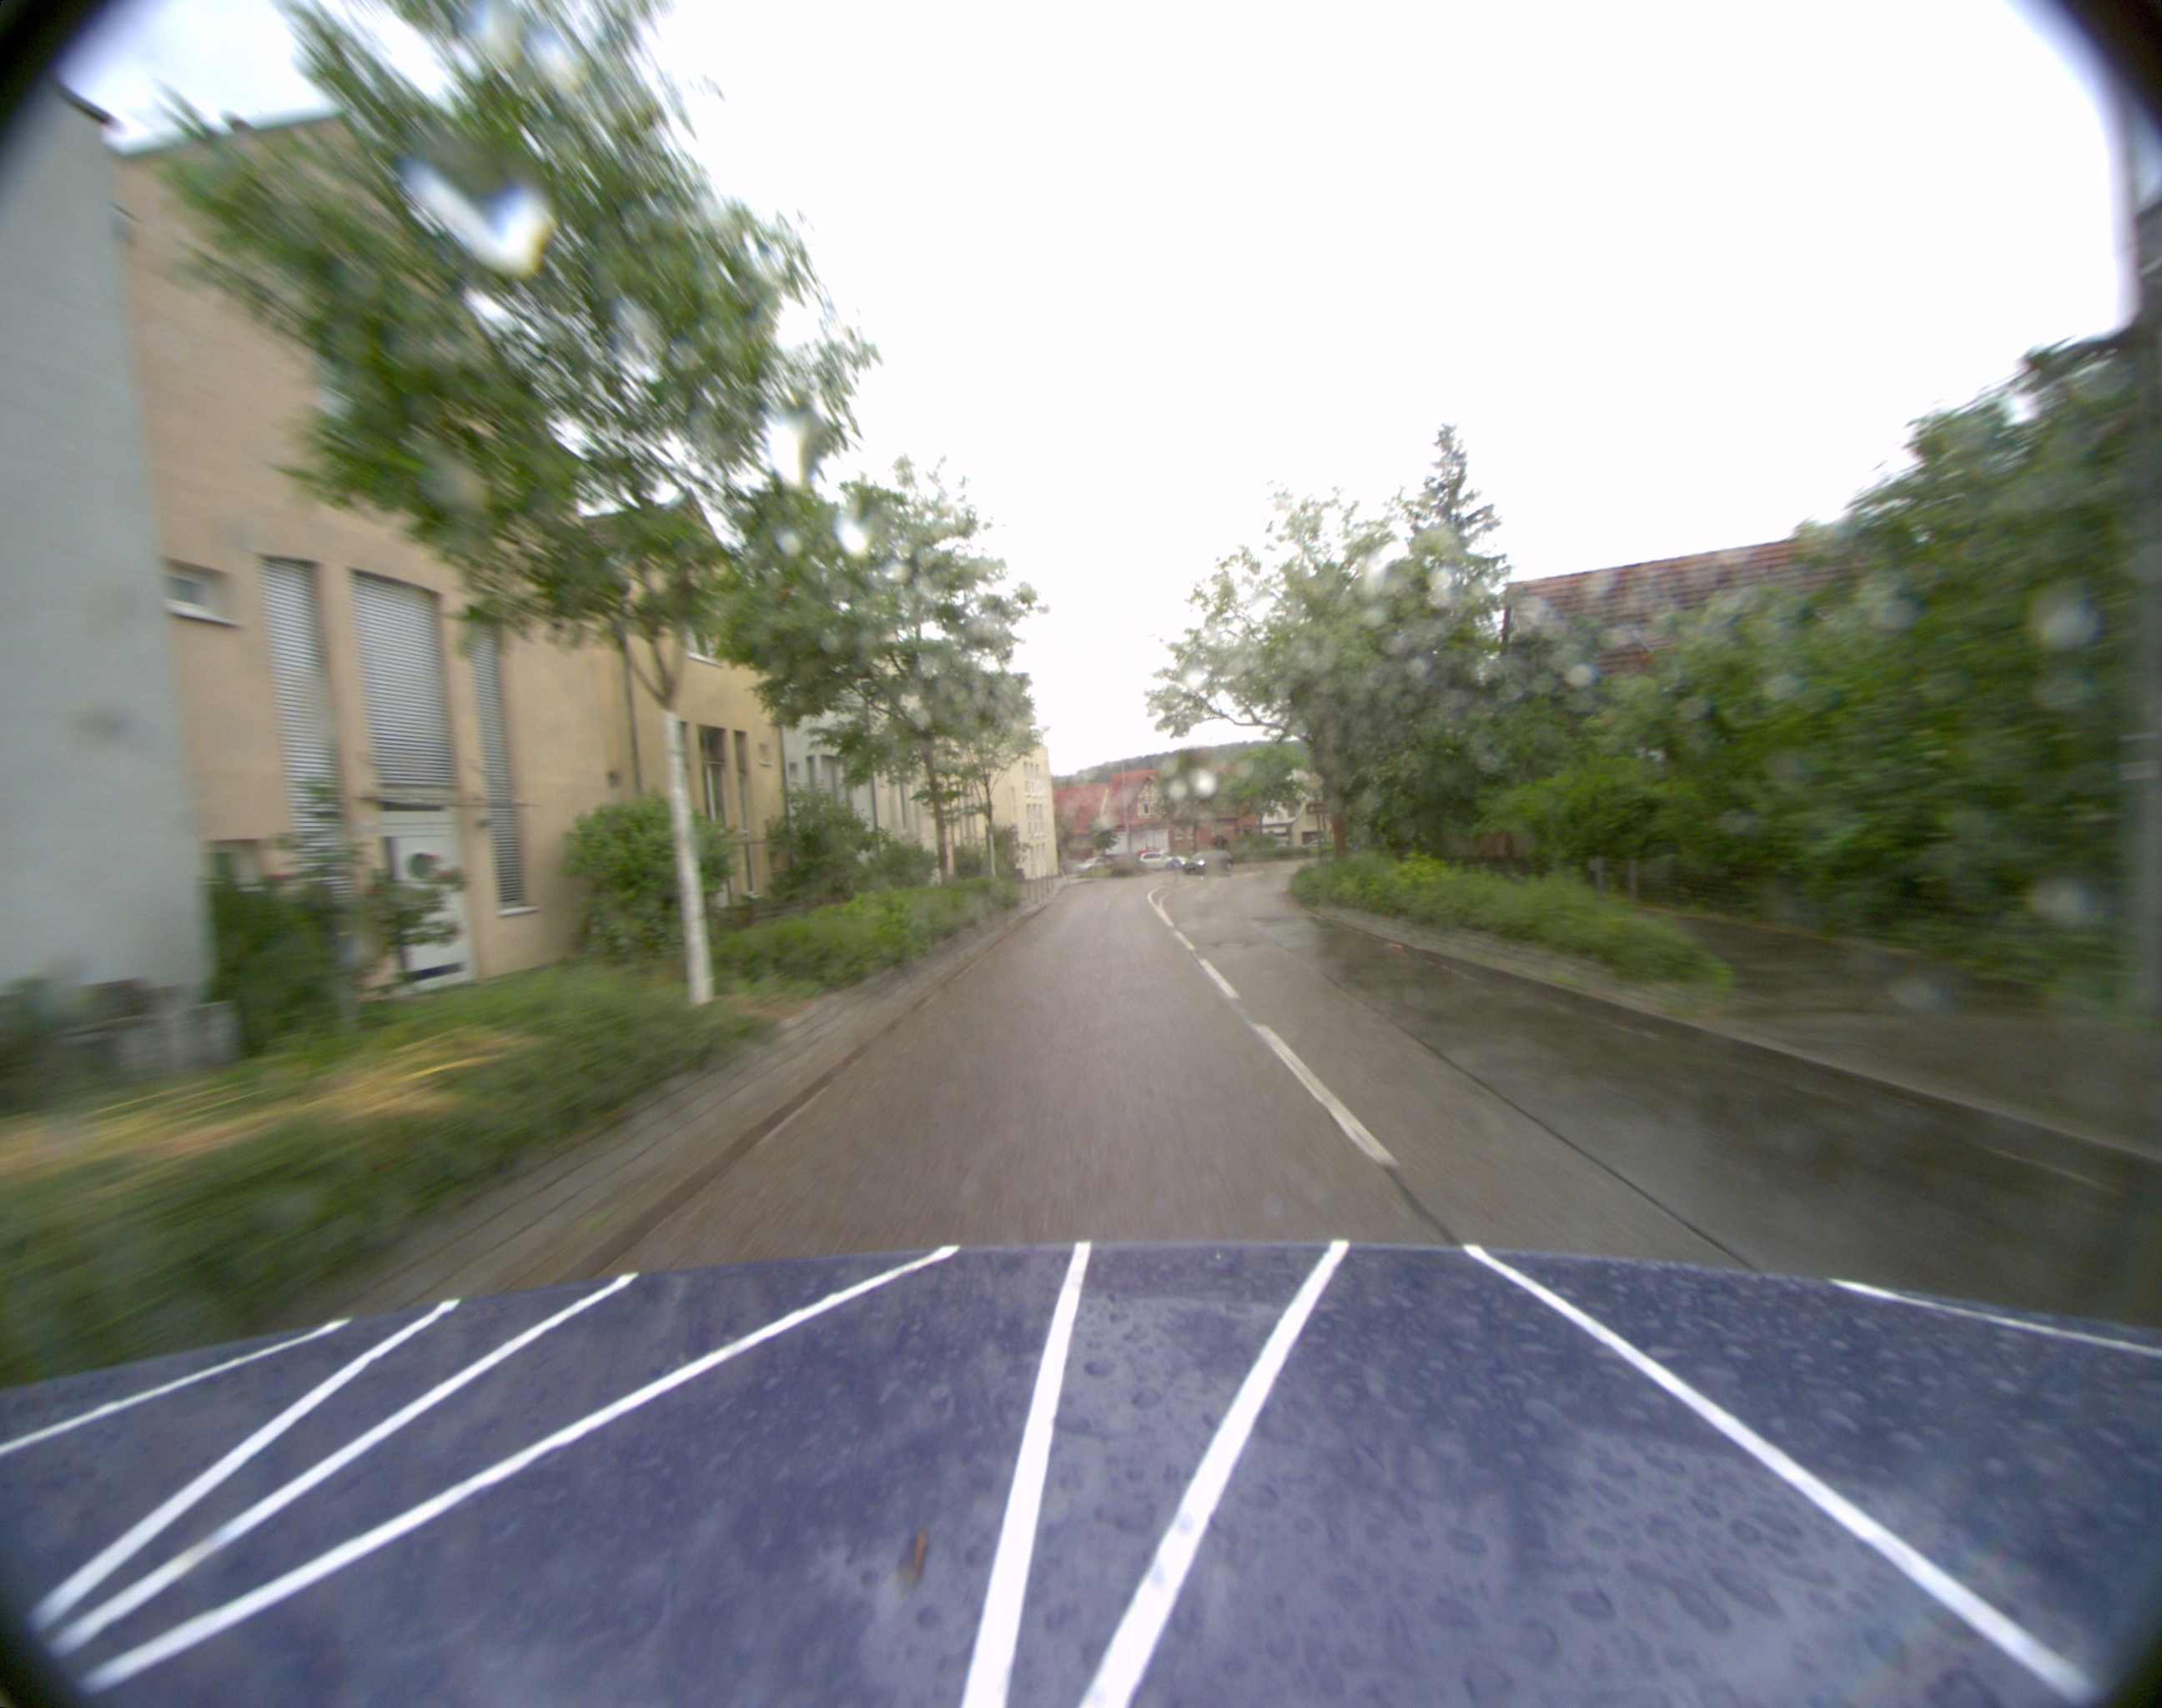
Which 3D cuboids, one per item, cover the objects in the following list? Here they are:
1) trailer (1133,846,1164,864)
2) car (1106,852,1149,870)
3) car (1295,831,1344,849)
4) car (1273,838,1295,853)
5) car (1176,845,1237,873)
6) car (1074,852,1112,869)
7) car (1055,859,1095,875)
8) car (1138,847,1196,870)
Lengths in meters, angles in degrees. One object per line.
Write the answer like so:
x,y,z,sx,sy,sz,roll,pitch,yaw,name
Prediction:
7.075,0.088,79.525,2.718,1.640,1.414,-3,1,31,trailer
4.477,0.688,72.880,3.738,1.382,1.620,-5,2,-28,car
23.105,-1.340,73.680,4.255,1.431,1.910,-3,3,26,car
22.004,-0.932,82.283,1.598,1.488,4.006,-4,1,26,car
8.487,0.322,51.198,4.007,1.521,1.995,-5,2,-45,car
1.199,0.601,75.800,1.619,1.382,4.007,-3,2,39,car
-0.577,1.323,77.797,1.875,1.368,4.007,-3,1,40,car
6.599,0.349,58.603,1.760,1.527,4.139,-6,2,-43,car
